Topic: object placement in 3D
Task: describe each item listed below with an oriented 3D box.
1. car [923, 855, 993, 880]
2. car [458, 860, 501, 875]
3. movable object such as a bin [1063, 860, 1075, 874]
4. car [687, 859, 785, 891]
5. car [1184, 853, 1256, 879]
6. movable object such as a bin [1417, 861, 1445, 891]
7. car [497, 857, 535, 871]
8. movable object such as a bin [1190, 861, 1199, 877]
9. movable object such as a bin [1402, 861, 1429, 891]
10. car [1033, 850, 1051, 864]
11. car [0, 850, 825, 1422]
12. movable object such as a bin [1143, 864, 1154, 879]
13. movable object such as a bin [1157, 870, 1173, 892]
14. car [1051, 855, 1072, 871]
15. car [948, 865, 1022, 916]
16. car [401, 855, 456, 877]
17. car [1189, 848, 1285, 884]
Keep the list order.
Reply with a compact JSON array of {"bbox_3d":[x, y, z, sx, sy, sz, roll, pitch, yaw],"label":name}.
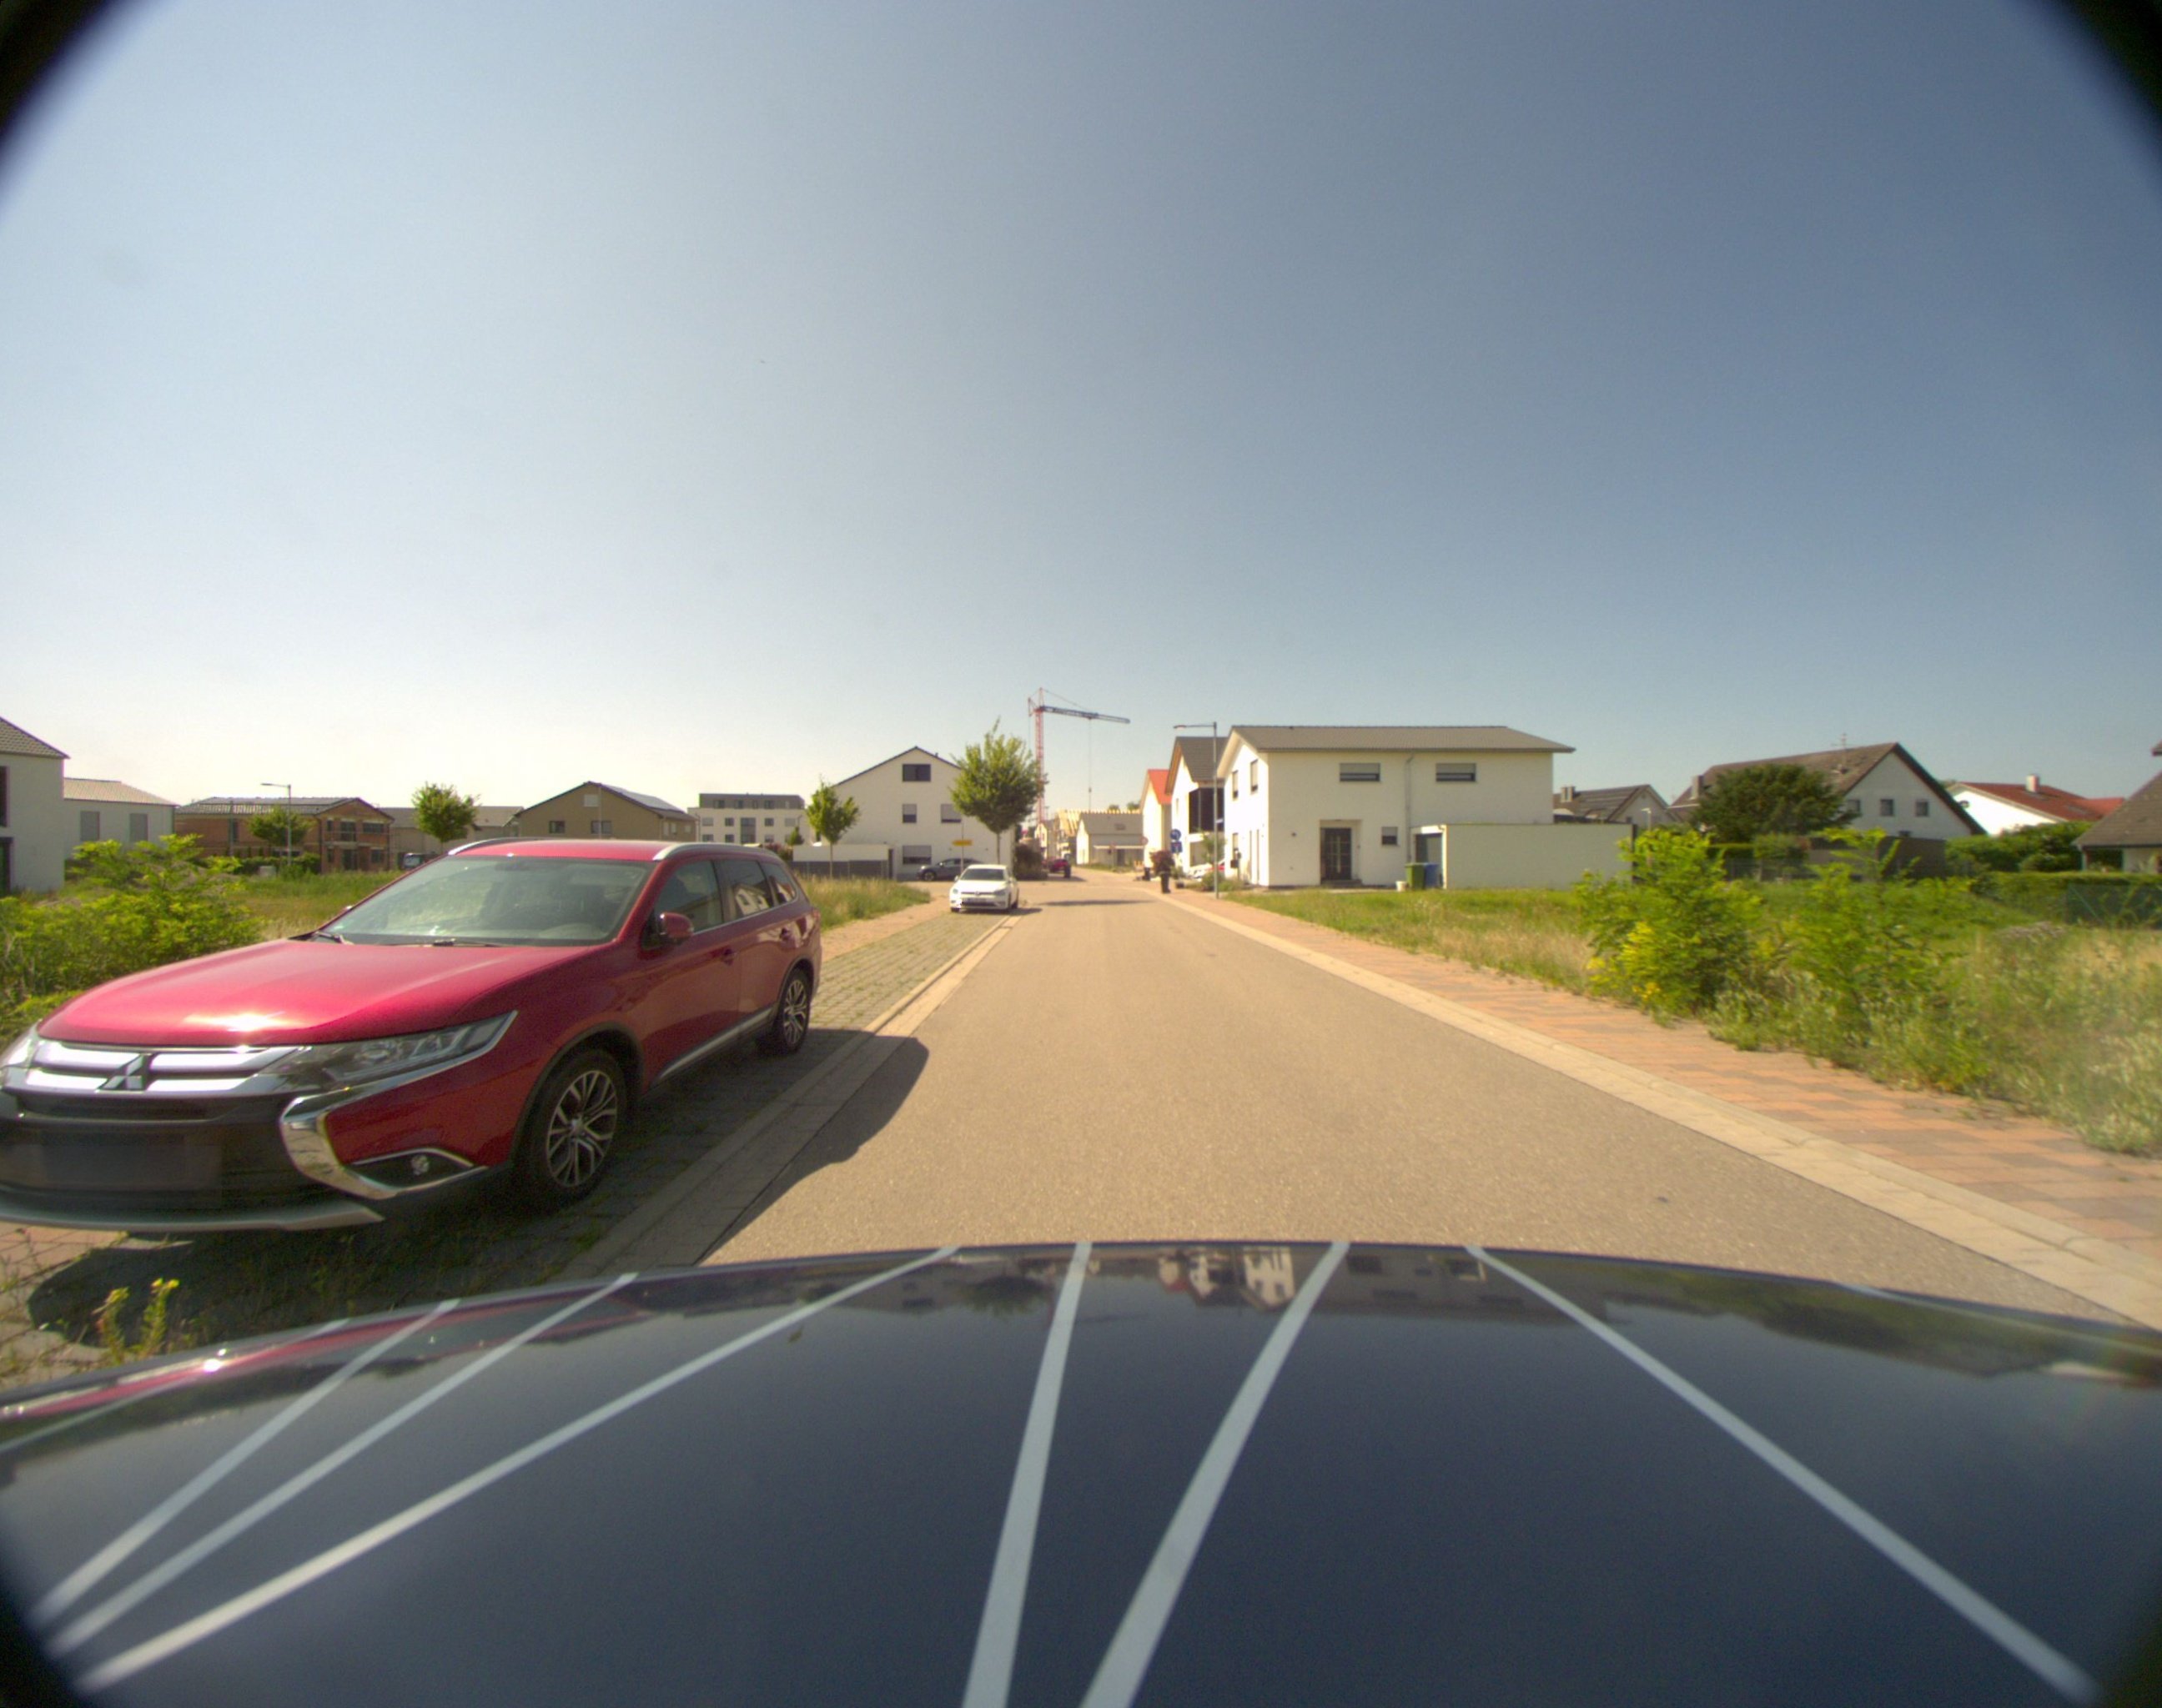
[{"bbox_3d":[-8.059,0.894,50.027,4.348,1.549,1.960,0,0,-2],"label":"car"},{"bbox_3d":[-61.149,1.340,77.330,1.668,1.392,3.917,0,0,-9],"label":"car"},{"bbox_3d":[-0.947,1.050,59.841,0.824,1.058,0.589,-1,2,-5],"label":"movable object such as a bin"},{"bbox_3d":[-17.732,1.061,39.198,4.193,1.485,1.848,-1,1,-7],"label":"car"},{"bbox_3d":[8.695,0.734,47.656,4.164,1.553,1.744,0,0,-6],"label":"car"},{"bbox_3d":[13.142,0.805,28.562,0.671,1.092,0.808,1,1,0],"label":"movable object such as a bin"},{"bbox_3d":[-62.127,1.101,83.637,1.750,1.494,3.996,0,0,-9],"label":"car"},{"bbox_3d":[7.585,0.999,50.792,0.500,1.085,0.601,-1,-1,-5],"label":"movable object such as a bin"},{"bbox_3d":[12.516,0.813,28.429,0.661,1.092,0.784,1,1,-1],"label":"movable object such as a bin"},{"bbox_3d":[-5.035,0.388,97.120,1.804,1.609,3.672,-1,1,-11],"label":"car"},{"bbox_3d":[-3.105,0.834,4.415,1.781,1.653,4.433,1,0,-1],"label":"car"},{"bbox_3d":[4.438,1.140,50.010,0.618,0.931,0.564,-1,0,-5],"label":"movable object such as a bin"},{"bbox_3d":[3.658,1.168,33.148,0.625,0.943,0.500,-1,2,-5],"label":"movable object such as a bin"},{"bbox_3d":[-2.001,0.897,77.710,1.912,1.470,3.997,-1,1,-5],"label":"car"},{"bbox_3d":[-2.950,1.099,24.167,1.780,1.411,4.165,1,0,0],"label":"car"},{"bbox_3d":[-60.212,1.086,70.207,2.000,2.002,3.996,0,0,-9],"label":"car"},{"bbox_3d":[8.448,0.632,41.380,4.749,1.864,1.938,0,1,-3],"label":"car"}]
